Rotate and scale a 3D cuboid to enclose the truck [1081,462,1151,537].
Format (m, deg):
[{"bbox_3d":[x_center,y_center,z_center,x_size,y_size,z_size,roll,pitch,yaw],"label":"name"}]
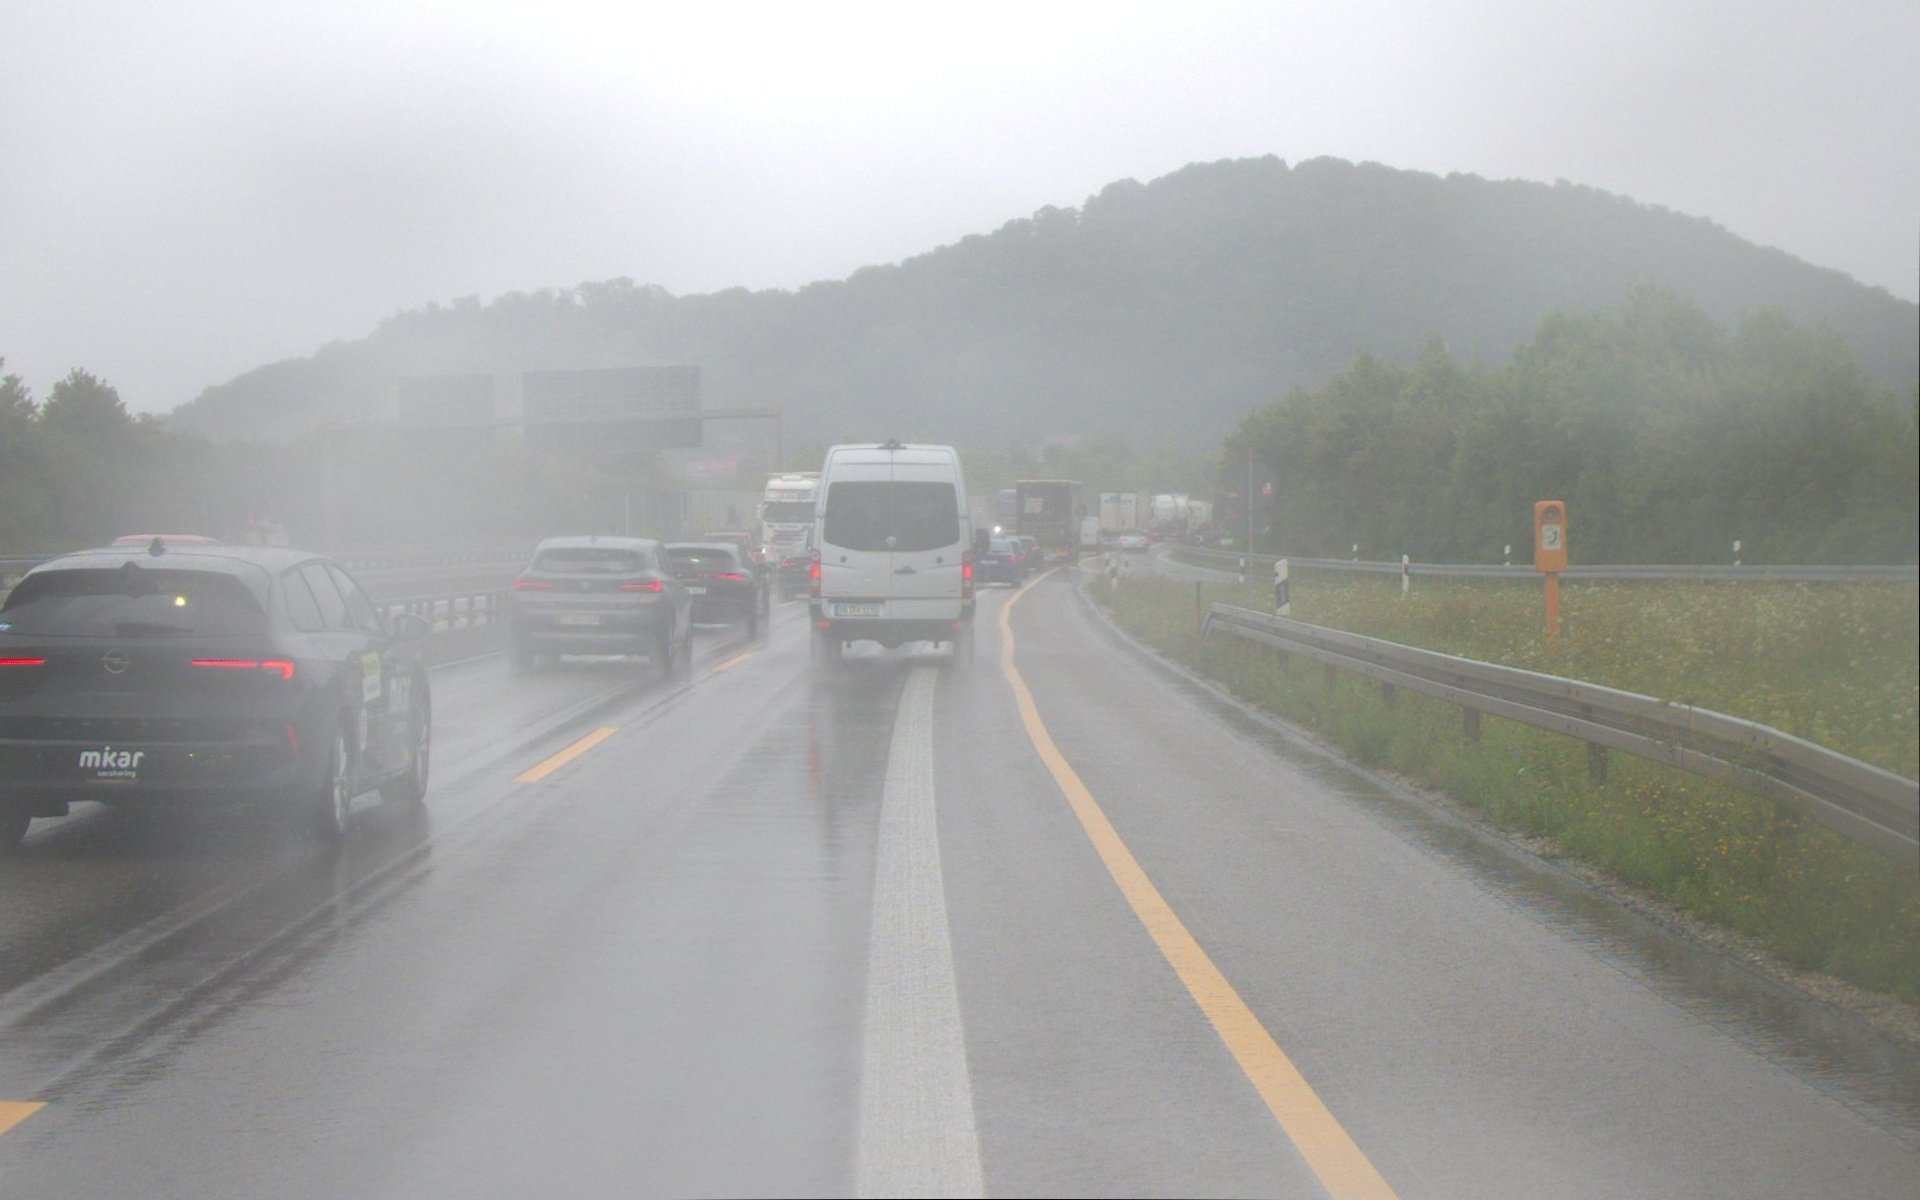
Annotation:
[{"bbox_3d":[10.610,-6.768,232.885,3.929,4.768,9.904,2,1,7],"label":"truck"}]

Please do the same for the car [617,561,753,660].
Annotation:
[{"bbox_3d":[-4.394,0.144,55.444,1.852,1.495,4.000,0,1,0],"label":"car"}]

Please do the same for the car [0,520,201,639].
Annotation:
[{"bbox_3d":[-11.551,-0.289,45.745,1.993,1.500,4.297,1,1,-1],"label":"car"}]

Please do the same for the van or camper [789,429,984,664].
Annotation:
[{"bbox_3d":[-0.970,-0.662,42.304,2.139,2.712,4.649,0,1,-4],"label":"van or camper"}]

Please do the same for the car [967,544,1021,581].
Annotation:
[{"bbox_3d":[1.019,-1.140,103.947,1.384,1.074,3.123,0,1,-4],"label":"car"}]

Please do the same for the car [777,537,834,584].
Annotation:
[{"bbox_3d":[-3.644,-0.953,81.570,1.262,1.074,3.255,0,1,-1],"label":"car"}]

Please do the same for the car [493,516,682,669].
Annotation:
[{"bbox_3d":[-4.211,-0.115,39.370,1.867,1.653,3.988,0,1,-2],"label":"car"}]

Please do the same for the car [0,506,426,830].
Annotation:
[{"bbox_3d":[-4.014,0.259,17.686,1.938,1.422,4.761,1,1,-2],"label":"car"}]

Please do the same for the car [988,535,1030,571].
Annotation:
[{"bbox_3d":[1.771,-1.707,124.566,1.384,1.252,3.123,0,1,-2],"label":"car"}]

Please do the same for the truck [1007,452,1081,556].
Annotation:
[{"bbox_3d":[4.116,-4.582,166.712,3.321,4.768,9.906,2,1,2],"label":"truck"}]
